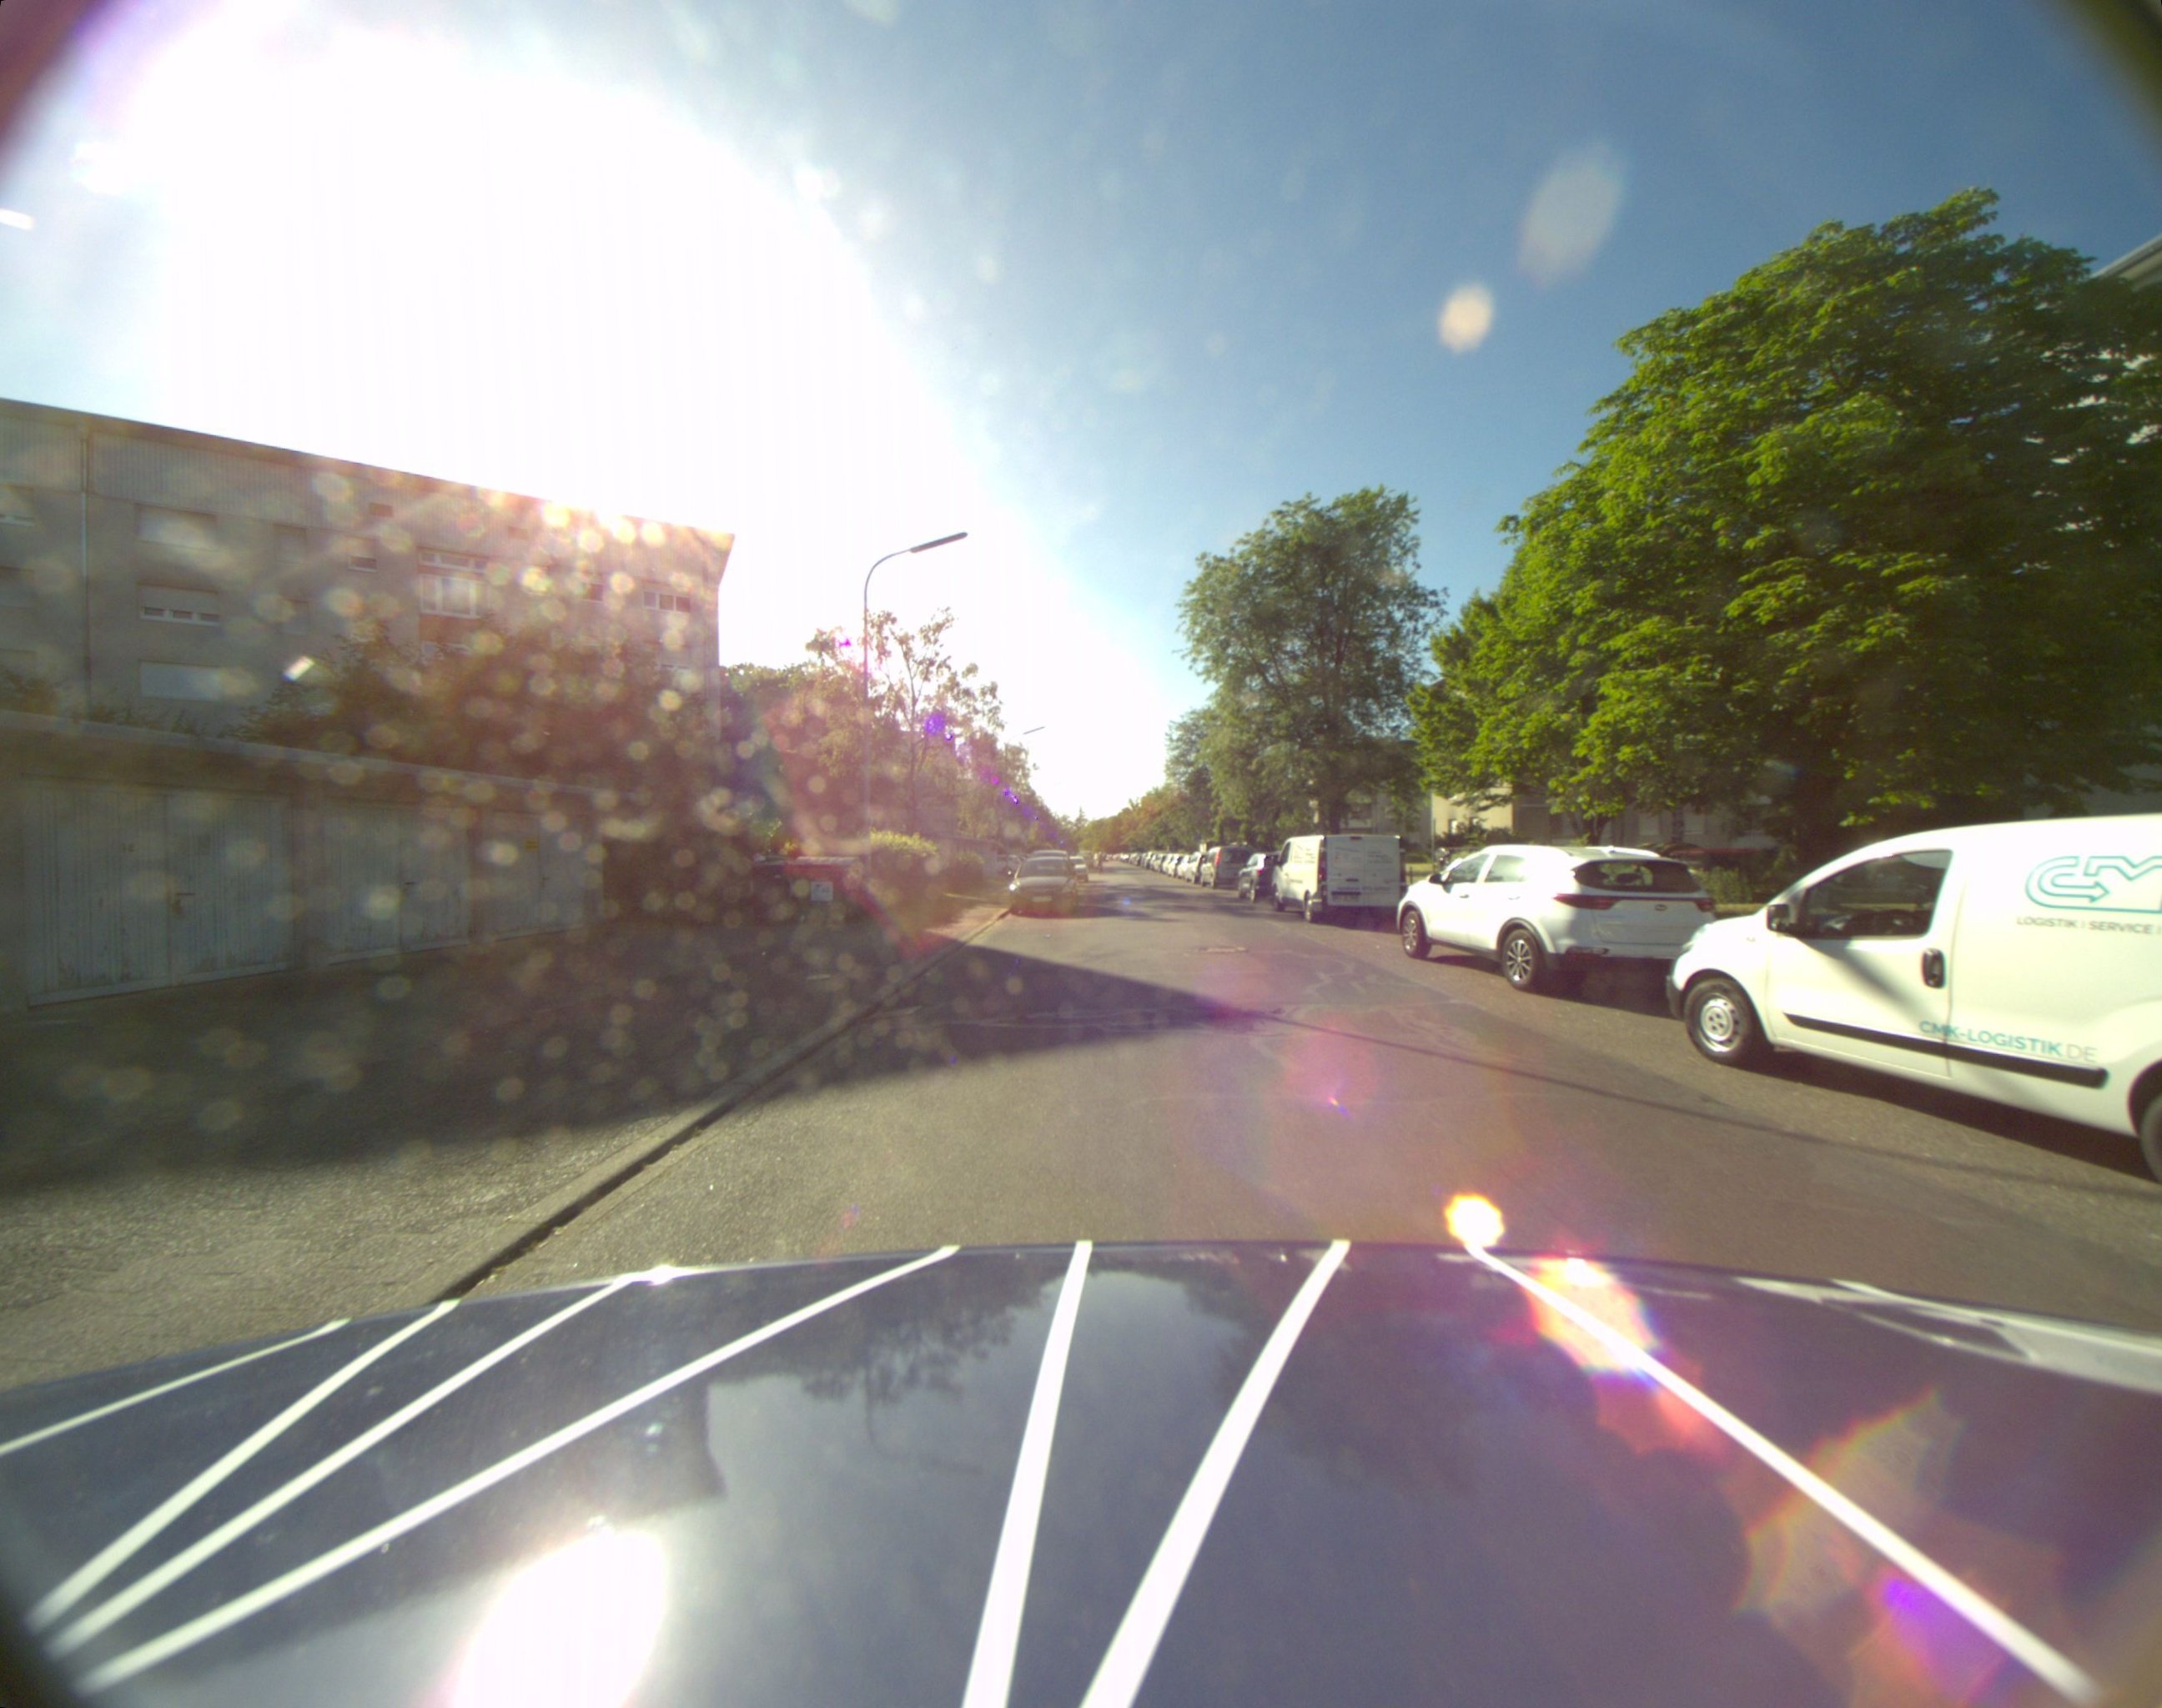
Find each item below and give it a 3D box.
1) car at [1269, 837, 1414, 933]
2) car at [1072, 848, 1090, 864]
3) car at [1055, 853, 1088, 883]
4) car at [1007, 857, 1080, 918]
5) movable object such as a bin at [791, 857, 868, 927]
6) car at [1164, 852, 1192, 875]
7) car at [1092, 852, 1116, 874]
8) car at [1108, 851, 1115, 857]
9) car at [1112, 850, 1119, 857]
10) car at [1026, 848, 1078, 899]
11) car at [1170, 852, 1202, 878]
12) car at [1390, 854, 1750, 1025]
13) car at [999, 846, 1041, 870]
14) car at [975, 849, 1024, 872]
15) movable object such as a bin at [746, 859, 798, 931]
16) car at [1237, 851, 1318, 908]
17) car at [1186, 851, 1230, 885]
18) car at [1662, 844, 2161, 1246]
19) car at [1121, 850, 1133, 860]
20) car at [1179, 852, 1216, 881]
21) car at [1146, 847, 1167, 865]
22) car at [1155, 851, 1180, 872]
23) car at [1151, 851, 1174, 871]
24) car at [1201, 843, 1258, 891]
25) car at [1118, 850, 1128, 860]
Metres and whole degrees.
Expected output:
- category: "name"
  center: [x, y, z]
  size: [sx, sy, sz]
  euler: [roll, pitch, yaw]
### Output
- category: "car"
  center: [5.897, 0.632, 17.838]
  size: [1.909, 1.930, 4.511]
  euler: [1, 0, 2]
- category: "car"
  center: [0.029, 0.187, 77.448]
  size: [1.732, 1.586, 3.812]
  euler: [-2, 0, 1]
- category: "car"
  center: [-0.515, 0.742, 43.064]
  size: [1.732, 1.586, 3.812]
  euler: [-2, 0, 1]
- category: "car"
  center: [-0.930, 0.848, 20.928]
  size: [1.732, 1.462, 3.812]
  euler: [-2, 0, 1]
- category: "movable object such as a bin"
  center: [-5.397, 0.795, 16.396]
  size: [1.278, 1.434, 1.179]
  euler: [1, 2, -1]
- category: "car"
  center: [7.086, 0.649, 55.784]
  size: [1.632, 1.619, 3.556]
  euler: [1, 0, 1]
- category: "car"
  center: [1.789, 0.702, 59.343]
  size: [1.732, 1.586, 3.812]
  euler: [-2, 0, 1]
- category: "car"
  center: [7.707, 0.021, 193.612]
  size: [1.632, 1.629, 3.566]
  euler: [1, 0, 1]
- category: "car"
  center: [8.185, -0.009, 181.078]
  size: [1.632, 1.619, 3.556]
  euler: [1, 0, 1]
- category: "car"
  center: [-1.025, 0.690, 28.601]
  size: [1.732, 1.743, 3.812]
  euler: [-2, 0, 1]
- category: "car"
  center: [6.838, 0.694, 49.869]
  size: [1.632, 1.619, 3.556]
  euler: [1, 0, 1]
- category: "car"
  center: [5.638, 0.837, 9.521]
  size: [1.732, 1.630, 4.169]
  euler: [1, 0, -1]
- category: "car"
  center: [-5.890, 0.378, 73.607]
  size: [3.777, 2.002, 1.810]
  euler: [-3, 2, 0]
- category: "car"
  center: [-6.005, 0.492, 56.407]
  size: [3.504, 1.499, 1.602]
  euler: [-3, 2, -5]
- category: "movable object such as a bin"
  center: [-6.445, 0.842, 15.886]
  size: [0.754, 1.434, 0.848]
  euler: [1, 2, -1]
- category: "car"
  center: [6.107, 0.732, 24.039]
  size: [1.732, 1.630, 3.813]
  euler: [1, 0, 3]
- category: "car"
  center: [6.436, 0.686, 38.813]
  size: [1.632, 1.619, 3.556]
  euler: [1, 0, 1]
- category: "car"
  center: [5.433, 0.812, 4.079]
  size: [1.817, 1.672, 3.648]
  euler: [1, 0, 1]
- category: "car"
  center: [7.446, 0.178, 122.823]
  size: [1.632, 1.619, 3.556]
  euler: [1, 0, 1]
- category: "car"
  center: [6.743, 0.695, 44.204]
  size: [1.632, 1.619, 3.556]
  euler: [1, 0, 1]
- category: "car"
  center: [7.122, 0.144, 71.988]
  size: [1.632, 1.619, 3.556]
  euler: [1, 0, 1]
- category: "car"
  center: [7.060, 0.575, 62.364]
  size: [1.632, 1.619, 3.556]
  euler: [1, 0, 1]
- category: "car"
  center: [7.156, 0.597, 67.208]
  size: [1.632, 1.619, 3.556]
  euler: [1, 0, 1]
- category: "car"
  center: [6.403, 0.538, 33.185]
  size: [1.732, 1.941, 3.812]
  euler: [1, 0, 1]
- category: "car"
  center: [7.205, 0.174, 130.307]
  size: [1.632, 1.619, 3.556]
  euler: [1, 0, 1]
